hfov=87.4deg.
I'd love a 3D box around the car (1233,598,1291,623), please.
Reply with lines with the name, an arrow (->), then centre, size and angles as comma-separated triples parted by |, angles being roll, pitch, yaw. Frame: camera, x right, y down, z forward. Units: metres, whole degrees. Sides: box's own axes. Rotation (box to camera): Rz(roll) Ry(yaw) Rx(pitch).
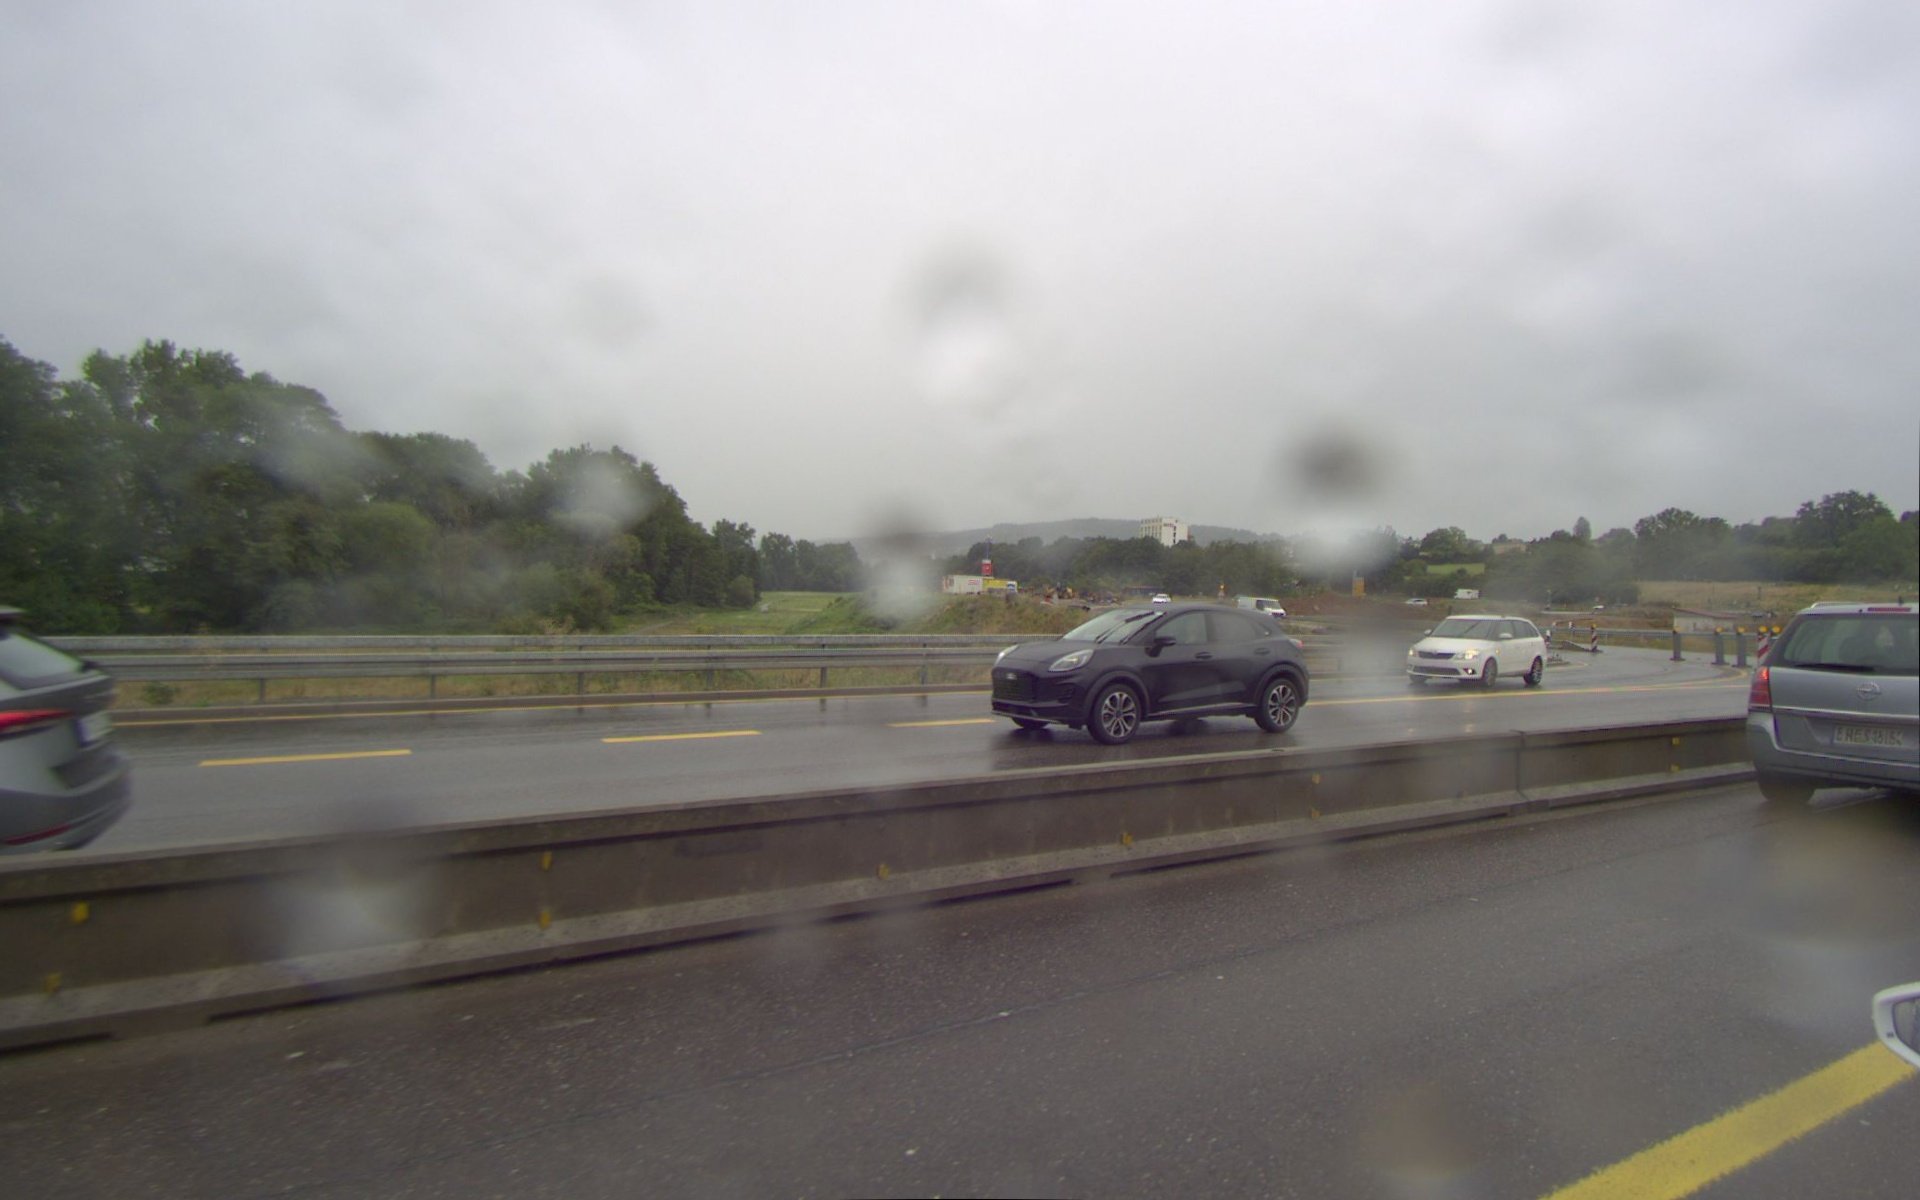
car -> 25.511, 0.878, 85.135 | 2.236, 2.040, 5.025 | 1, 0, -18

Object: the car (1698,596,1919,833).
car -> 8.198, 0.832, 8.253 | 4.092, 1.622, 1.984 | 1, 0, -30

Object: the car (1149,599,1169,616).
car -> 25.514, 0.925, 128.427 | 2.030, 2.090, 4.845 | 1, 0, 16

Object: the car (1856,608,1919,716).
car -> 17.808, 1.013, 17.648 | 4.791, 1.771, 1.835 | 0, -1, -33

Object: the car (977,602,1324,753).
car -> 2.340, 0.792, 12.103 | 3.955, 1.517, 1.810 | 0, 1, -32

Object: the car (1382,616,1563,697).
car -> 11.268, 1.170, 21.997 | 4.230, 1.597, 1.833 | 0, -1, -37

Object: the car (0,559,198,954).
car -> -5.646, 0.610, 3.637 | 4.358, 1.468, 1.899 | 0, -1, -30
